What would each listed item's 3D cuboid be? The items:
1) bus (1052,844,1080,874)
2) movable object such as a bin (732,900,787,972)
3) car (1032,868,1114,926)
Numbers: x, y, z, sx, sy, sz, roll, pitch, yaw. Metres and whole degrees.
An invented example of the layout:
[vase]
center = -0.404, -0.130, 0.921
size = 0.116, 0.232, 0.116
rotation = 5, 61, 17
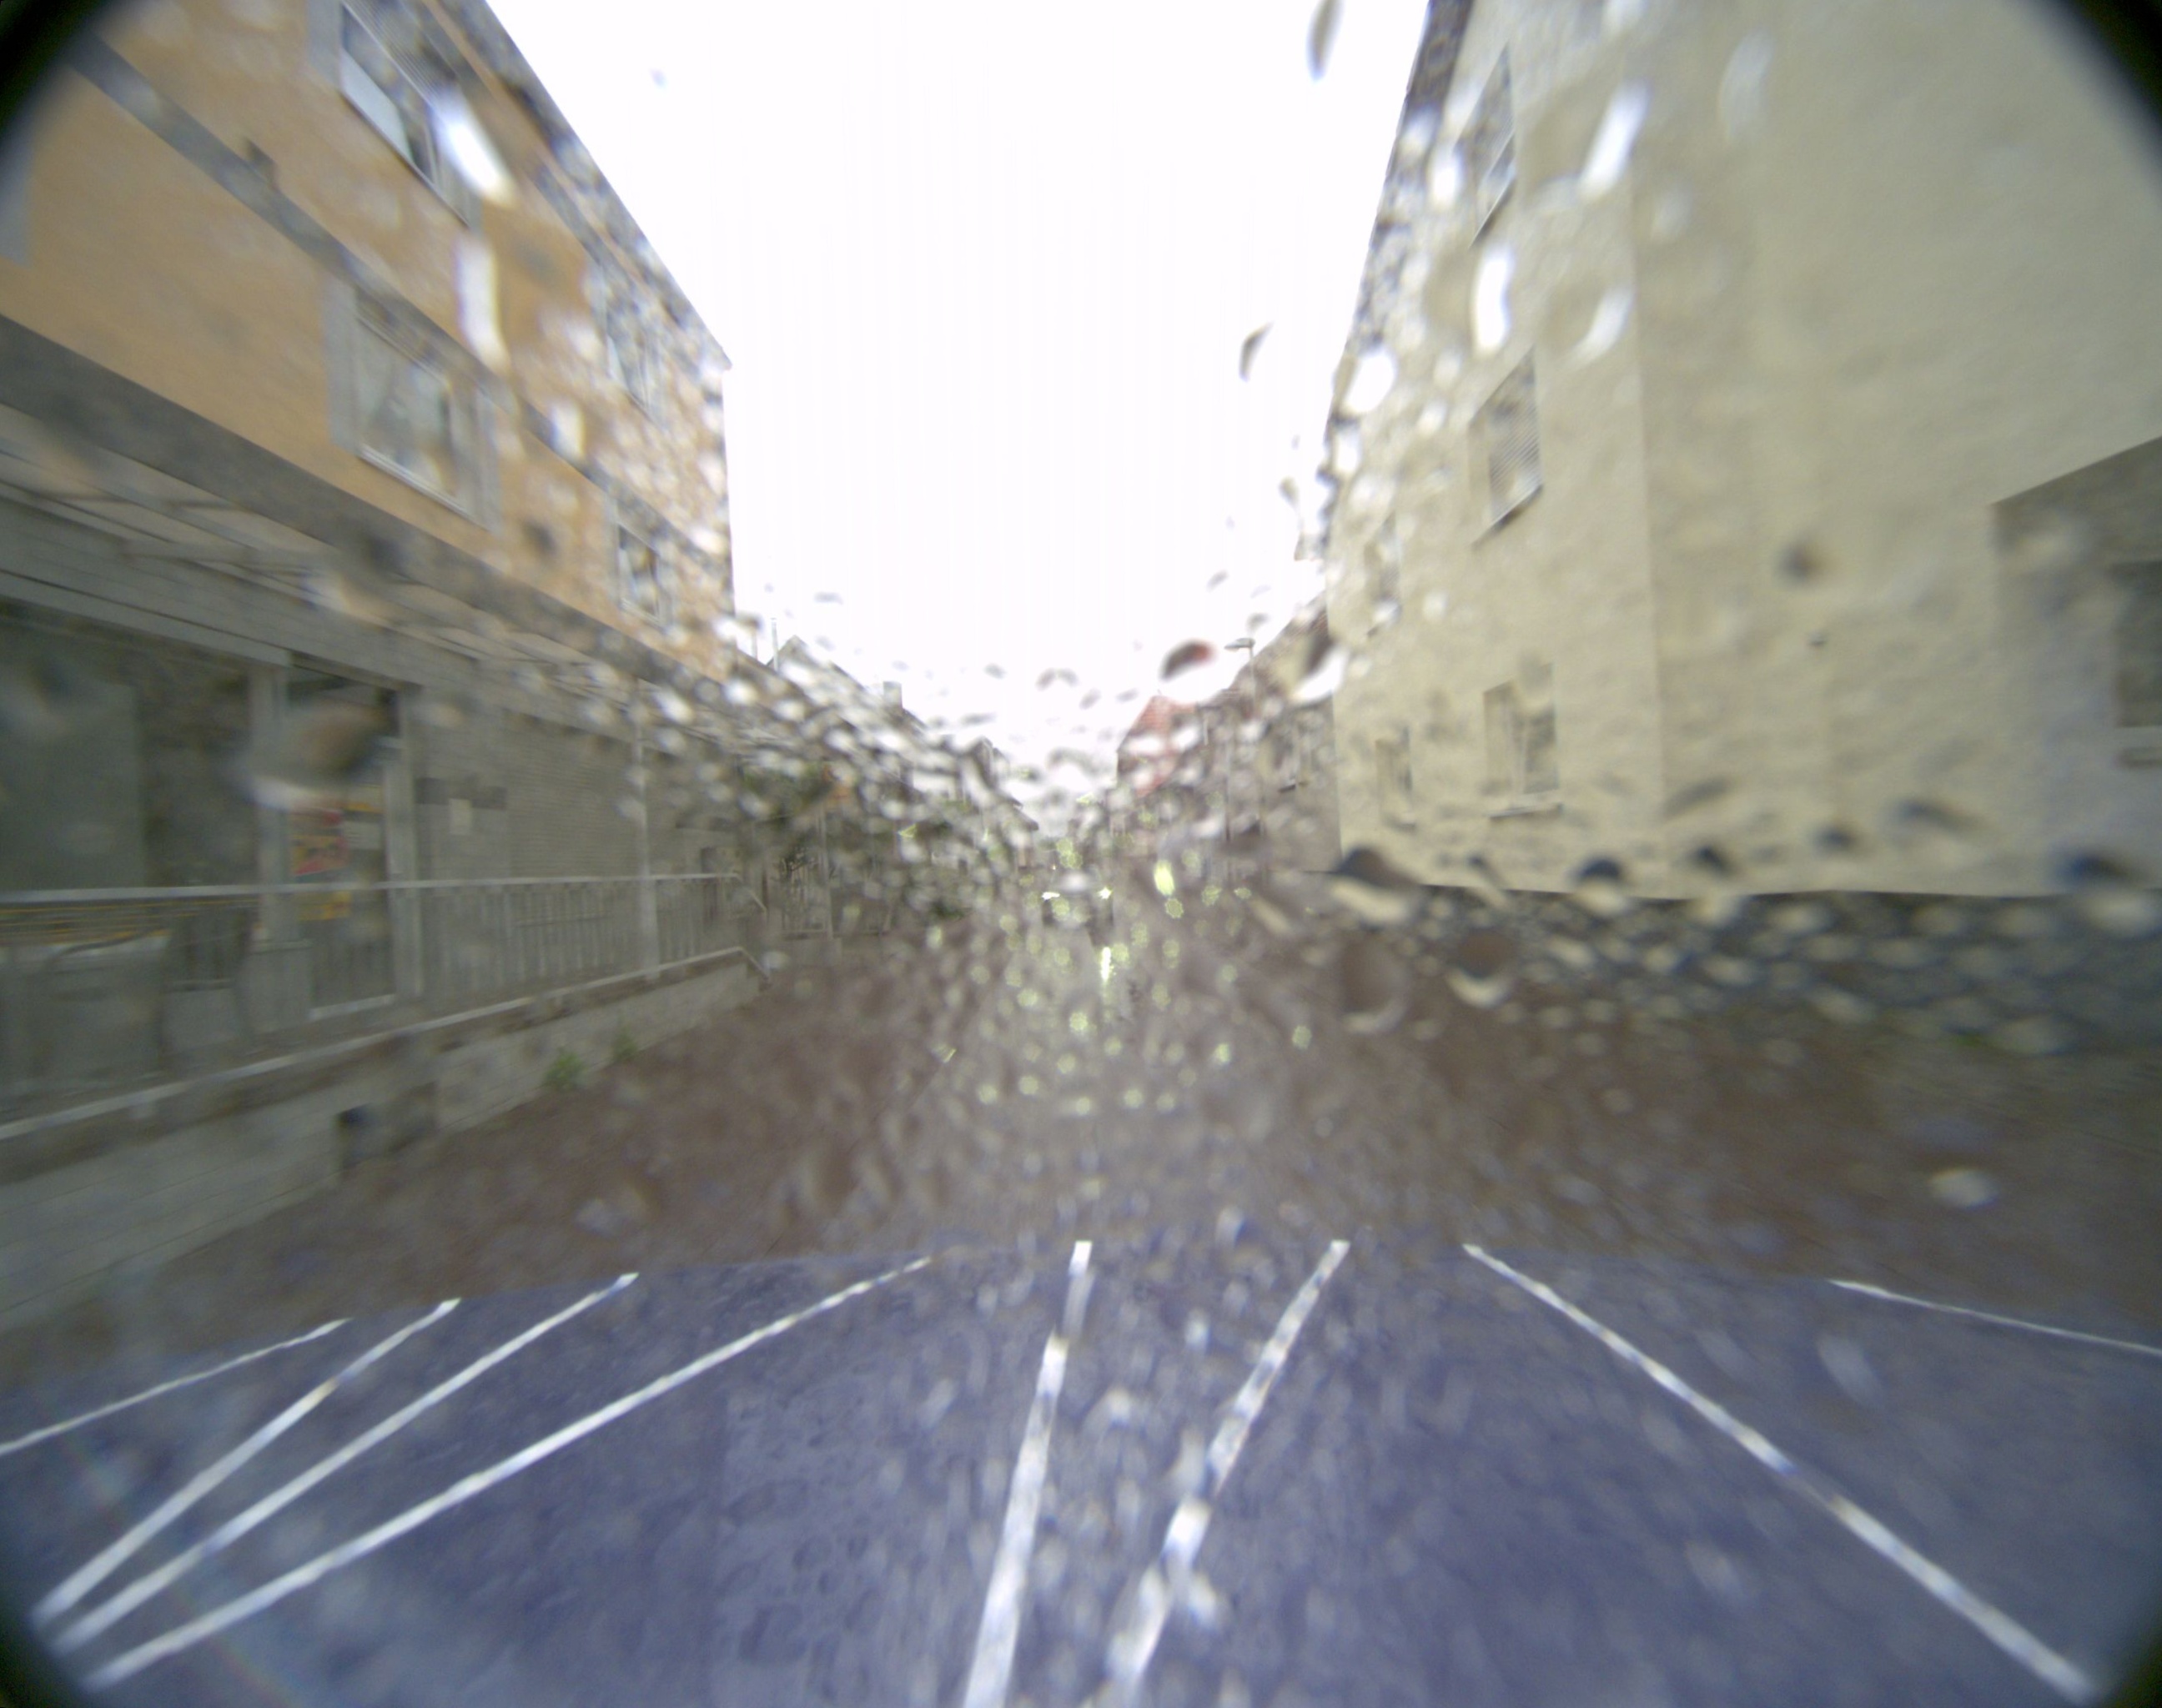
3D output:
[bus]
center = -2.095, 0.618, 100.827
size = 2.893, 3.589, 11.976
rotation = -3, 0, -4
[movable object such as a bin]
center = -5.127, 1.294, 12.147
size = 0.510, 1.075, 0.739
rotation = -2, 0, 3
[car]
center = -0.117, 1.078, 20.273
size = 1.800, 1.341, 3.739
rotation = -1, 0, 5
